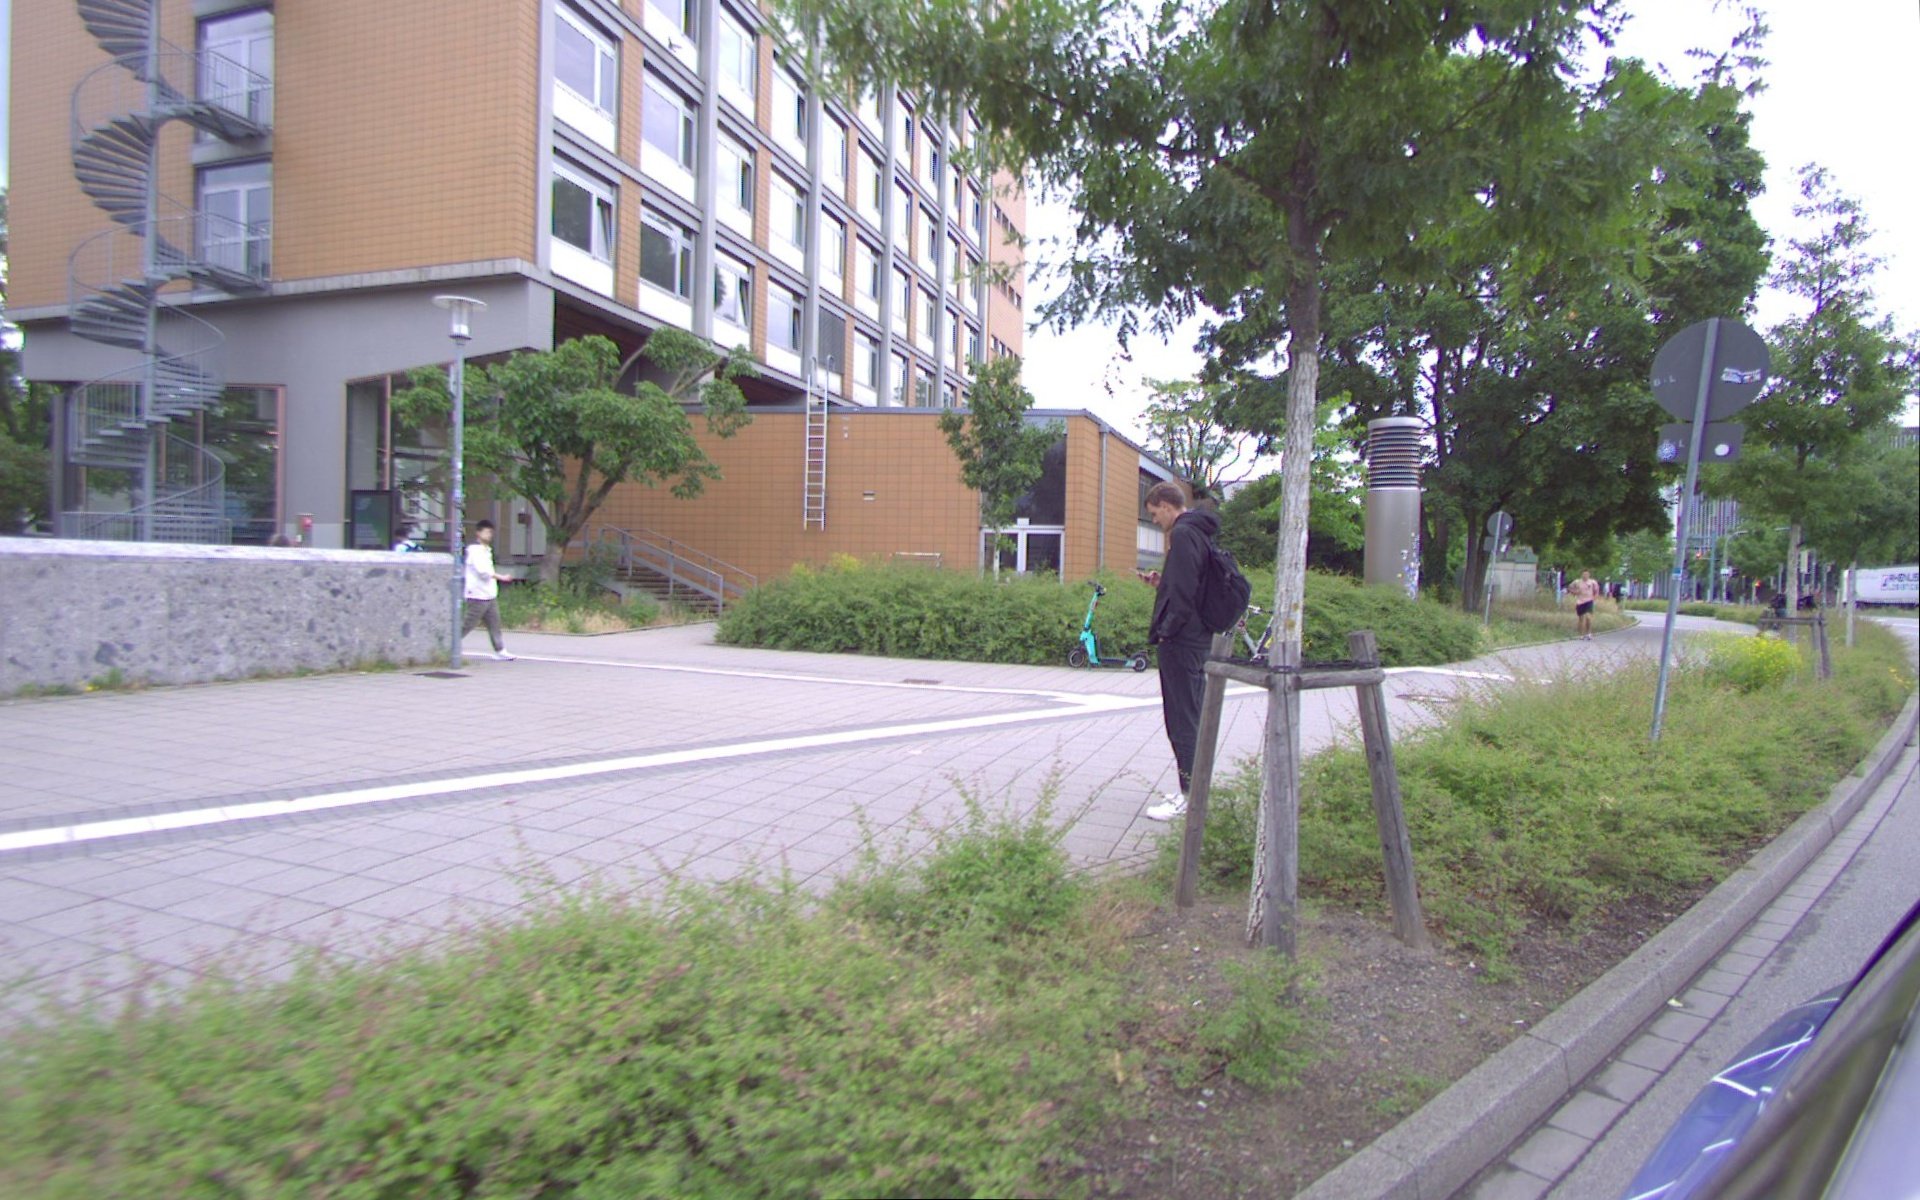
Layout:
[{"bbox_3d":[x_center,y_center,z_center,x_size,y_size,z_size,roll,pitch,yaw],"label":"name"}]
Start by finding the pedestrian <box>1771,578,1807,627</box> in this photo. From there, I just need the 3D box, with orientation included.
[{"bbox_3d":[32.055,0.108,39.134,0.708,1.822,0.597,3,3,2],"label":"pedestrian"}]

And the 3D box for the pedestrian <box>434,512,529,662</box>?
[{"bbox_3d":[-6.066,-0.176,12.856,0.697,1.828,0.830,1,1,29],"label":"pedestrian"}]

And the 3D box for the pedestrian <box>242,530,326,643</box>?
[{"bbox_3d":[-10.900,-0.226,16.334,0.860,1.764,0.722,1,1,11],"label":"pedestrian"}]

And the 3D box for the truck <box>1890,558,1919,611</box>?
[{"bbox_3d":[75.016,-1.198,77.774,2.880,4.075,7.107,0,0,22],"label":"truck"}]

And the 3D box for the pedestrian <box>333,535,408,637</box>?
[{"bbox_3d":[-9.770,-0.238,16.783,0.865,1.651,0.718,1,1,26],"label":"pedestrian"}]

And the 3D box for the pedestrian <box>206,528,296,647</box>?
[{"bbox_3d":[-10.764,-0.196,15.372,0.860,1.752,0.722,1,1,11],"label":"pedestrian"}]

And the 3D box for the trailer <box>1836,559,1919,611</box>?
[{"bbox_3d":[77.635,-1.214,84.209,2.913,4.064,13.707,0,0,22],"label":"trailer"}]

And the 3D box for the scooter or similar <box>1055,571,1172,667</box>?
[{"bbox_3d":[2.197,0.254,14.451,1.583,1.306,0.691,0,0,18],"label":"scooter or similar"}]

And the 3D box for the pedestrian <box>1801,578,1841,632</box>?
[{"bbox_3d":[30.119,0.174,35.422,0.708,1.822,0.597,3,3,2],"label":"pedestrian"}]

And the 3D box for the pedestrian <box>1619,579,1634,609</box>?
[{"bbox_3d":[41.571,-0.399,63.096,0.592,1.822,0.515,4,3,26],"label":"pedestrian"}]

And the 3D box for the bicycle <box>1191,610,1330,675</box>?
[{"bbox_3d":[4.239,0.579,14.228,2.031,0.859,0.559,0,1,-26],"label":"bicycle"}]

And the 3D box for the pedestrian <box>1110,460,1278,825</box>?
[{"bbox_3d":[1.362,0.213,5.882,0.862,1.952,0.721,1,1,15],"label":"pedestrian"}]

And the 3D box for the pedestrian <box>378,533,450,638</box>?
[{"bbox_3d":[-9.471,-0.260,17.570,0.865,1.758,0.718,1,1,26],"label":"pedestrian"}]

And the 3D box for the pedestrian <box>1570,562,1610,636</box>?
[{"bbox_3d":[16.108,-0.027,25.863,0.588,1.822,0.630,0,4,-45],"label":"pedestrian"}]
